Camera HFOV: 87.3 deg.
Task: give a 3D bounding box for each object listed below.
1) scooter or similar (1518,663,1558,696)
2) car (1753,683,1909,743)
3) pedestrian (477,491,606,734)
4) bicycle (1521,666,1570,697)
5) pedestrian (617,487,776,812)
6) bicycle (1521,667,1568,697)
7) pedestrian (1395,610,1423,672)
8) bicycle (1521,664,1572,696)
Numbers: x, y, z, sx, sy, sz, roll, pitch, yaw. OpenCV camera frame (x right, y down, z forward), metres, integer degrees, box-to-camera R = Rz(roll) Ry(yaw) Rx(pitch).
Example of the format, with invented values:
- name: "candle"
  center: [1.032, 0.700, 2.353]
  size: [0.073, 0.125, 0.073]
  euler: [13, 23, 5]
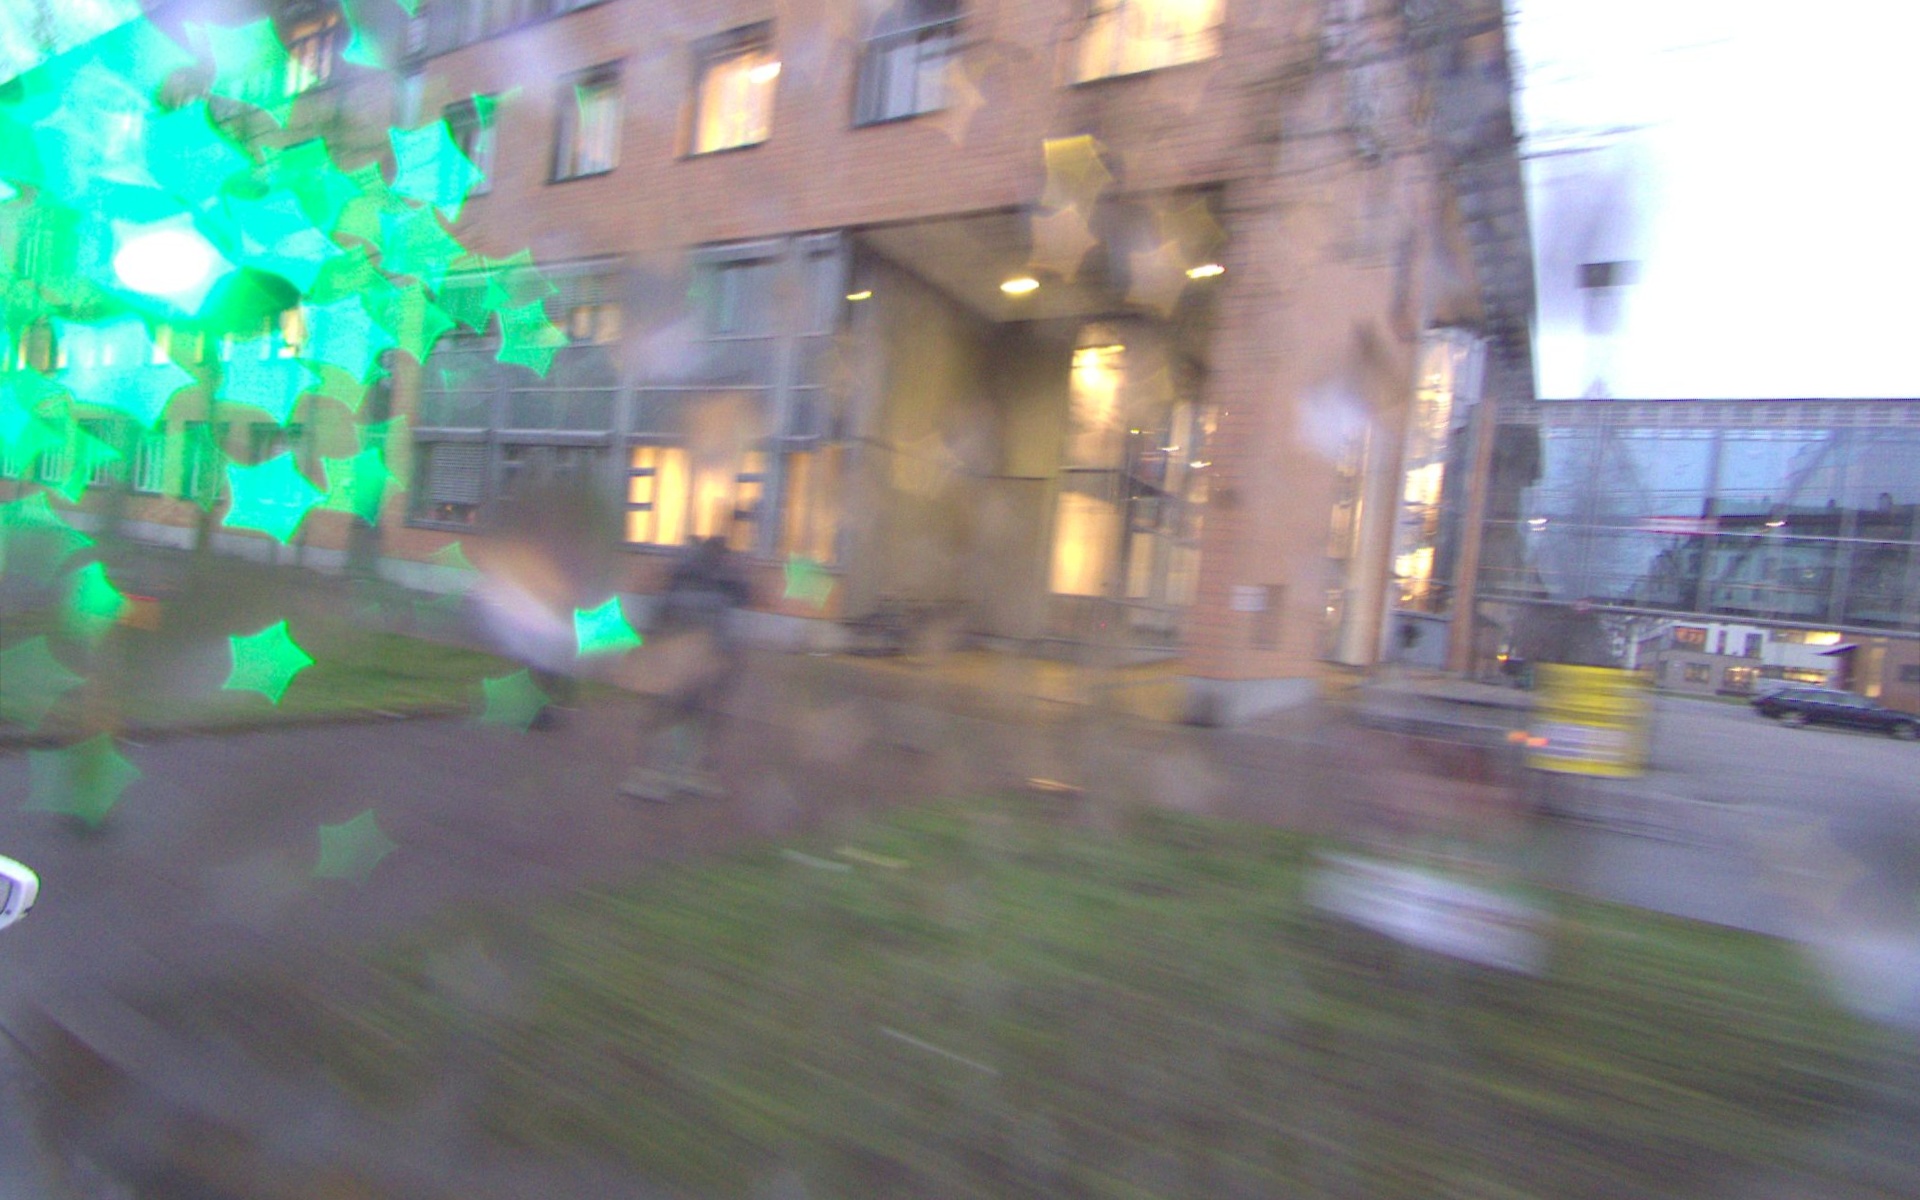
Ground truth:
- name: "scooter or similar"
  center: [21.671, 2.973, 37.739]
  size: [1.196, 1.087, 0.393]
  euler: [6, -1, 26]
- name: "car"
  center: [30.559, 3.916, 35.473]
  size: [3.942, 1.416, 1.990]
  euler: [7, 1, 40]
- name: "pedestrian"
  center: [-3.224, 0.095, 7.784]
  size: [0.646, 1.765, 0.505]
  euler: [6, 2, -1]
- name: "bicycle"
  center: [24.700, 3.434, 42.459]
  size: [1.674, 1.087, 0.492]
  euler: [6, -1, 30]
- name: "pedestrian"
  center: [-1.596, 0.290, 6.152]
  size: [0.645, 1.848, 0.505]
  euler: [6, 2, 6]
- name: "bicycle"
  center: [25.373, 3.567, 43.689]
  size: [1.674, 1.087, 0.492]
  euler: [6, -1, 30]
- name: "pedestrian"
  center: [13.549, 1.235, 30.367]
  size: [0.498, 1.808, 0.502]
  euler: [6, 2, 16]
- name: "bicycle"
  center: [23.512, 3.203, 40.356]
  size: [1.674, 1.087, 0.492]
  euler: [6, -1, 30]
